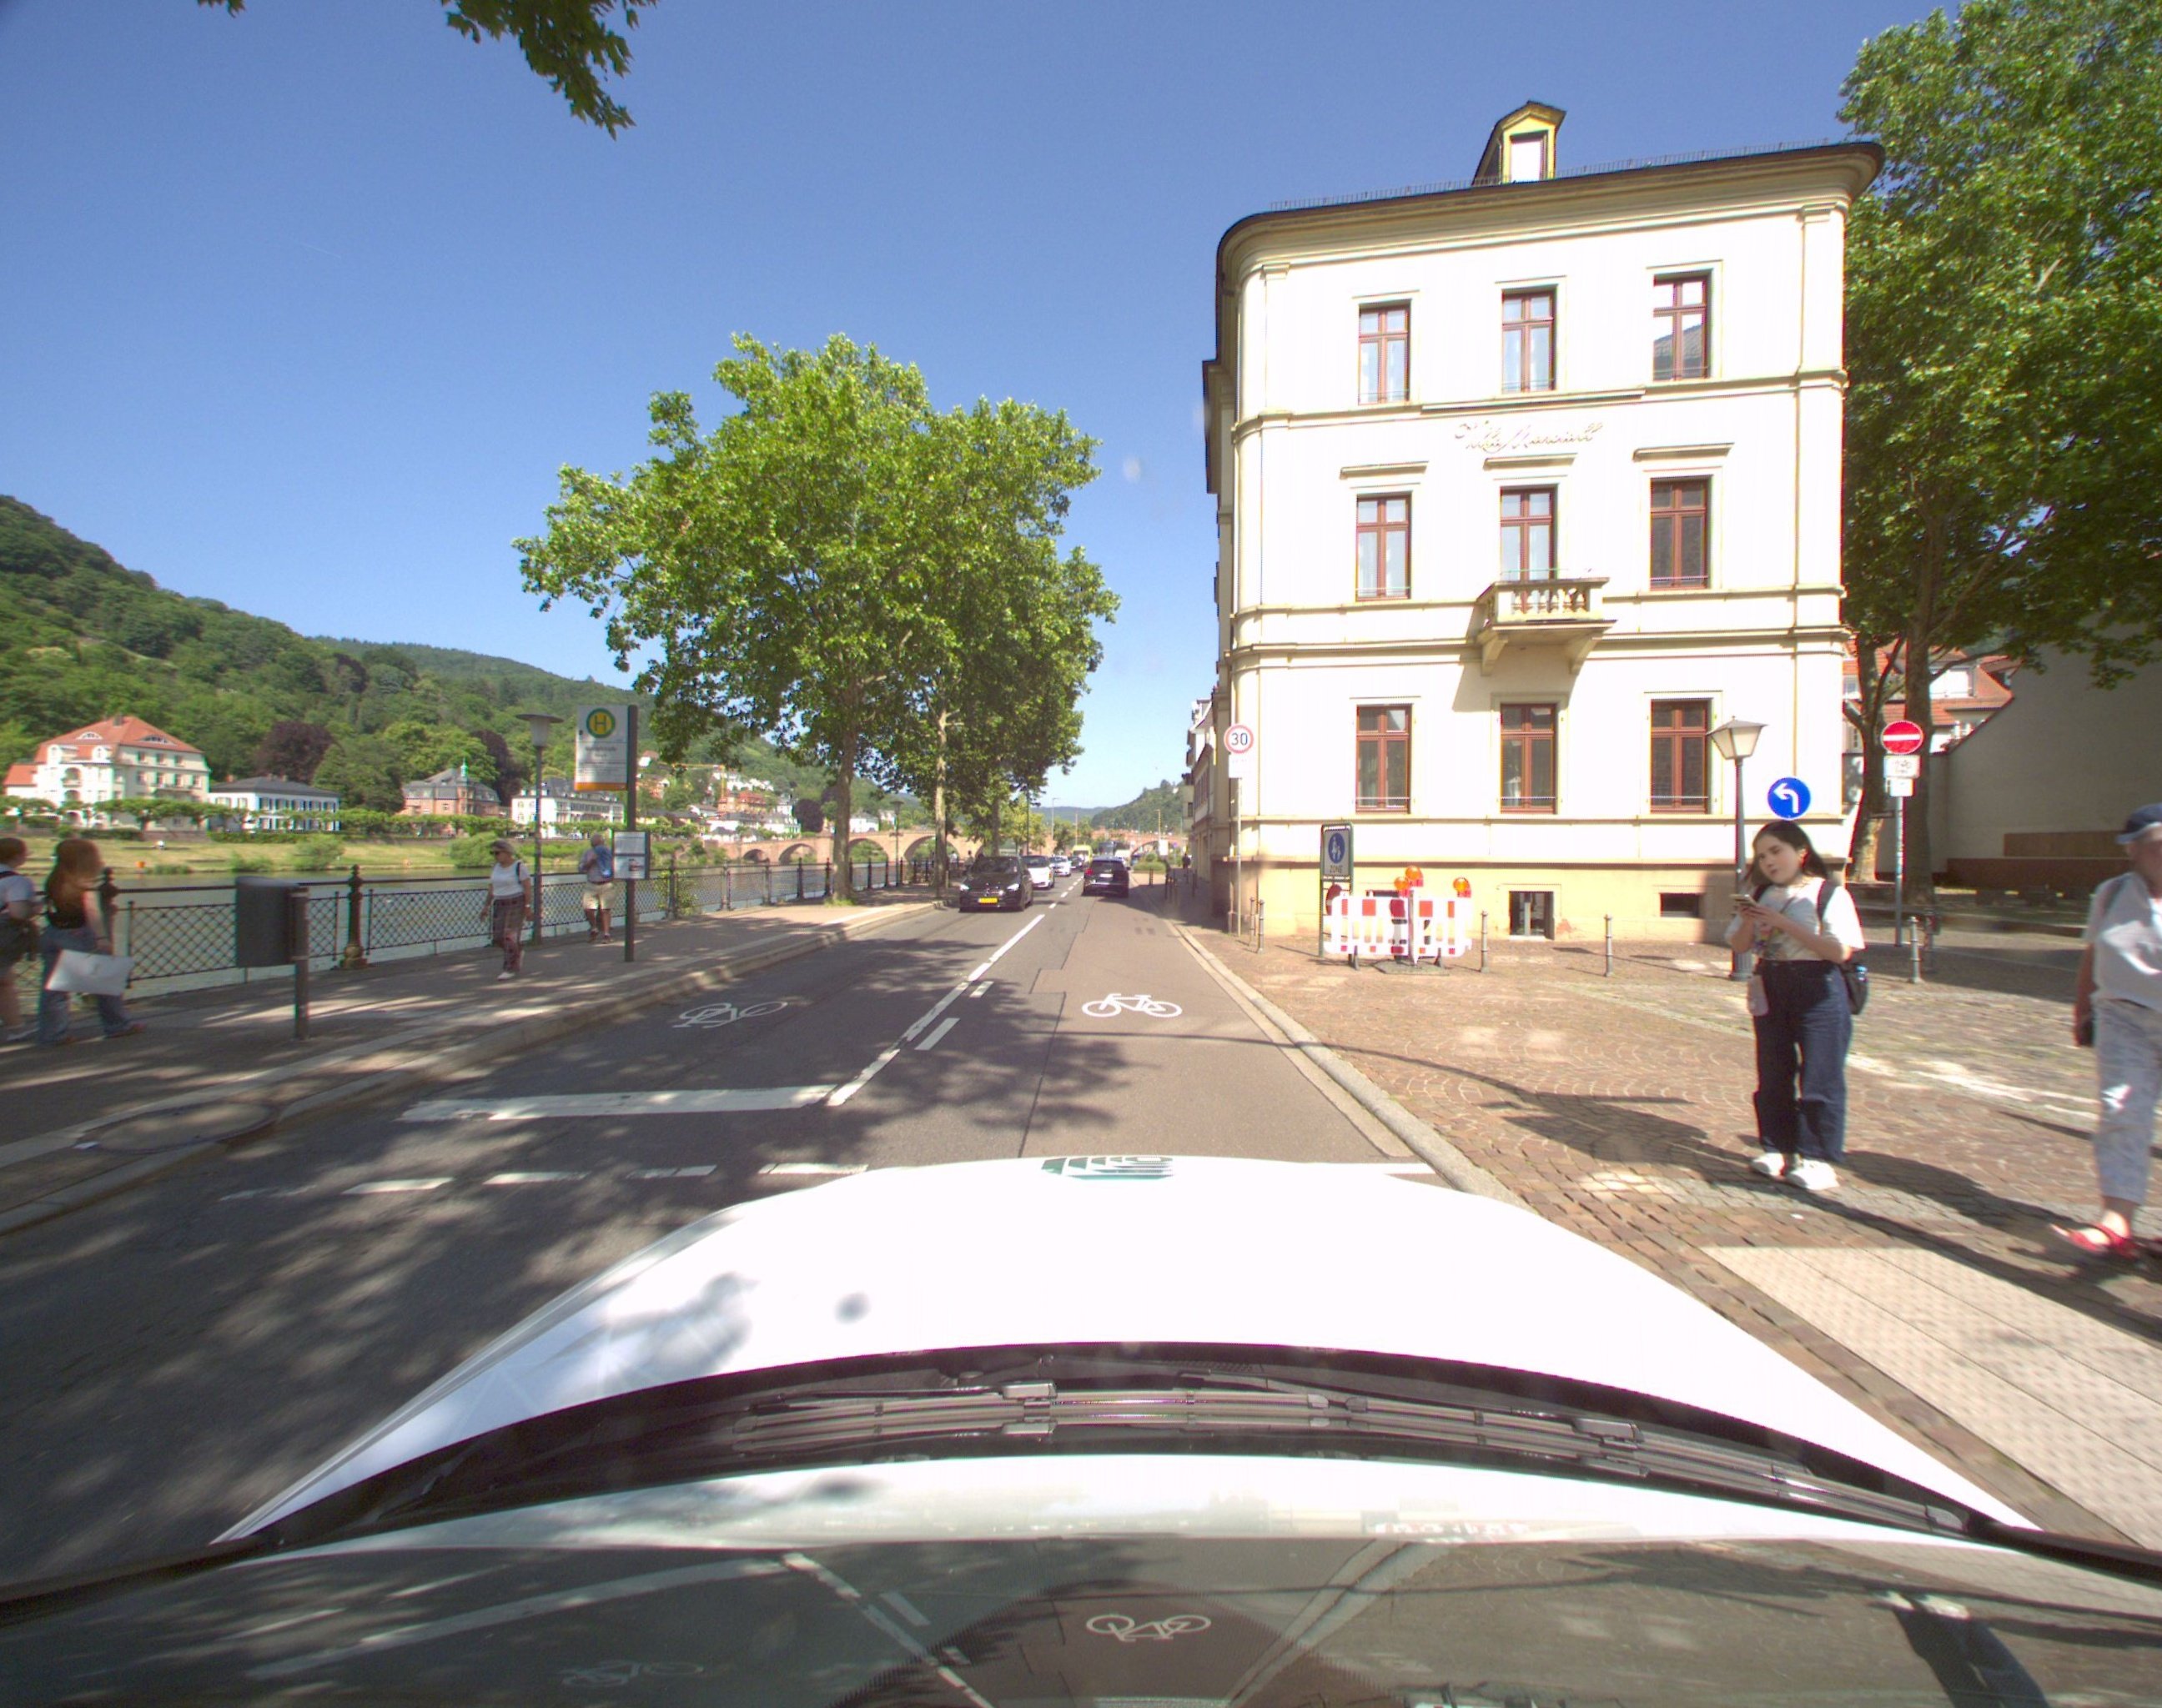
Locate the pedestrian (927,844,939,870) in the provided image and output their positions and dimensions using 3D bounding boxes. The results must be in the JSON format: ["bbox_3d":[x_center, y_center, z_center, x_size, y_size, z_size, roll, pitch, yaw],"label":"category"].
[{"bbox_3d":[-11.144,0.245,61.386,0.691,1.945,0.887,0,-1,1],"label":"pedestrian"}]

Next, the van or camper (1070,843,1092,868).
[{"bbox_3d":[0.050,0.153,88.906,2.079,2.557,7.096,1,0,3],"label":"van or camper"}]

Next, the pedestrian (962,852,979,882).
[{"bbox_3d":[-5.880,0.671,43.344,0.759,1.586,0.696,0,-1,1],"label":"pedestrian"}]

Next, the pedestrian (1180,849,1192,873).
[{"bbox_3d":[7.742,0.538,59.940,0.758,1.713,0.697,-2,-1,4],"label":"pedestrian"}]

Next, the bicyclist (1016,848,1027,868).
[{"bbox_3d":[-4.684,0.336,64.016,0.716,1.583,1.090,0,-1,3],"label":"bicyclist"}]

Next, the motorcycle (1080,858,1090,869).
[{"bbox_3d":[0.400,0.886,78.218,0.881,1.077,2.326,0,0,-2],"label":"motorcycle"}]

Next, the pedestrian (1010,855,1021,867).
[{"bbox_3d":[-6.797,0.709,84.124,0.931,1.281,0.852,0,-1,10],"label":"pedestrian"}]

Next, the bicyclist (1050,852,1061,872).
[{"bbox_3d":[-1.982,0.637,63.888,0.763,1.531,1.026,2,2,3],"label":"bicyclist"}]

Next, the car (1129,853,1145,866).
[{"bbox_3d":[7.344,0.720,106.377,1.916,1.553,4.840,-1,0,6],"label":"car"}]

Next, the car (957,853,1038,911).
[{"bbox_3d":[-2.378,0.771,24.143,1.694,1.518,4.408,-2,0,3],"label":"car"}]

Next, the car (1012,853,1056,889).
[{"bbox_3d":[-2.063,0.744,36.876,1.729,1.518,4.404,-1,-1,0],"label":"car"}]

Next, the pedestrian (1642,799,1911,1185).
[{"bbox_3d":[3.274,0.603,3.900,0.713,1.675,0.682,0,-1,1],"label":"pedestrian"}]

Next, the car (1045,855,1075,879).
[{"bbox_3d":[-1.430,0.874,56.549,1.694,1.445,4.095,2,1,3],"label":"car"}]

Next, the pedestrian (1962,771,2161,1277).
[{"bbox_3d":[3.935,0.578,3.064,0.525,1.712,0.665,0,-1,1],"label":"pedestrian"}]

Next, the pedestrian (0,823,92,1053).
[{"bbox_3d":[-8.414,0.632,6.256,0.650,1.713,0.793,-1,0,1],"label":"pedestrian"}]

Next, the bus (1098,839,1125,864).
[{"bbox_3d":[4.673,-0.257,122.024,2.616,3.564,13.014,0,-1,9],"label":"bus"}]

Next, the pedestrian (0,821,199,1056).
[{"bbox_3d":[-7.741,0.616,6.350,0.832,1.713,0.782,0,-1,1],"label":"pedestrian"}]

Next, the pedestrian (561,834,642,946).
[{"bbox_3d":[-7.873,0.570,13.416,0.709,1.764,0.972,0,-1,1],"label":"pedestrian"}]

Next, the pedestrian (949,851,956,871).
[{"bbox_3d":[-10.413,0.591,66.129,0.412,1.597,0.452,0,-1,9],"label":"pedestrian"}]

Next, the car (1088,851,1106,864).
[{"bbox_3d":[1.989,0.431,102.232,1.804,1.428,4.319,-1,0,7],"label":"car"}]

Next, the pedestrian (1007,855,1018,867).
[{"bbox_3d":[-6.959,0.704,83.223,0.931,1.281,0.852,0,-1,10],"label":"pedestrian"}]

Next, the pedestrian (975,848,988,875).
[{"bbox_3d":[-6.487,0.487,53.372,0.654,1.682,0.758,3,-1,1],"label":"pedestrian"}]

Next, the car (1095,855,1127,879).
[{"bbox_3d":[2.025,0.789,53.068,1.918,1.461,4.837,1,0,4],"label":"car"}]

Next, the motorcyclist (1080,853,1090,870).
[{"bbox_3d":[0.404,0.743,78.246,0.876,1.583,1.024,0,-1,-1],"label":"motorcyclist"}]

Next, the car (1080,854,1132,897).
[{"bbox_3d":[1.043,0.818,33.092,1.919,1.553,4.835,2,0,2],"label":"car"}]

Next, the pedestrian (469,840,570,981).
[{"bbox_3d":[-6.759,0.649,9.845,0.492,1.617,0.992,0,-1,1],"label":"pedestrian"}]

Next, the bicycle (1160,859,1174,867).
[{"bbox_3d":[10.856,1.136,102.993,1.801,0.878,0.503,2,0,5],"label":"bicycle"}]

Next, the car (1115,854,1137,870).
[{"bbox_3d":[4.524,0.739,80.947,1.916,1.553,4.840,-1,0,6],"label":"car"}]

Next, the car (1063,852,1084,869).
[{"bbox_3d":[-0.611,0.583,72.326,1.694,1.458,4.004,0,0,2],"label":"car"}]

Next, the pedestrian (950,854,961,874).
[{"bbox_3d":[-10.220,0.783,66.275,0.689,1.616,0.665,0,-1,9],"label":"pedestrian"}]
